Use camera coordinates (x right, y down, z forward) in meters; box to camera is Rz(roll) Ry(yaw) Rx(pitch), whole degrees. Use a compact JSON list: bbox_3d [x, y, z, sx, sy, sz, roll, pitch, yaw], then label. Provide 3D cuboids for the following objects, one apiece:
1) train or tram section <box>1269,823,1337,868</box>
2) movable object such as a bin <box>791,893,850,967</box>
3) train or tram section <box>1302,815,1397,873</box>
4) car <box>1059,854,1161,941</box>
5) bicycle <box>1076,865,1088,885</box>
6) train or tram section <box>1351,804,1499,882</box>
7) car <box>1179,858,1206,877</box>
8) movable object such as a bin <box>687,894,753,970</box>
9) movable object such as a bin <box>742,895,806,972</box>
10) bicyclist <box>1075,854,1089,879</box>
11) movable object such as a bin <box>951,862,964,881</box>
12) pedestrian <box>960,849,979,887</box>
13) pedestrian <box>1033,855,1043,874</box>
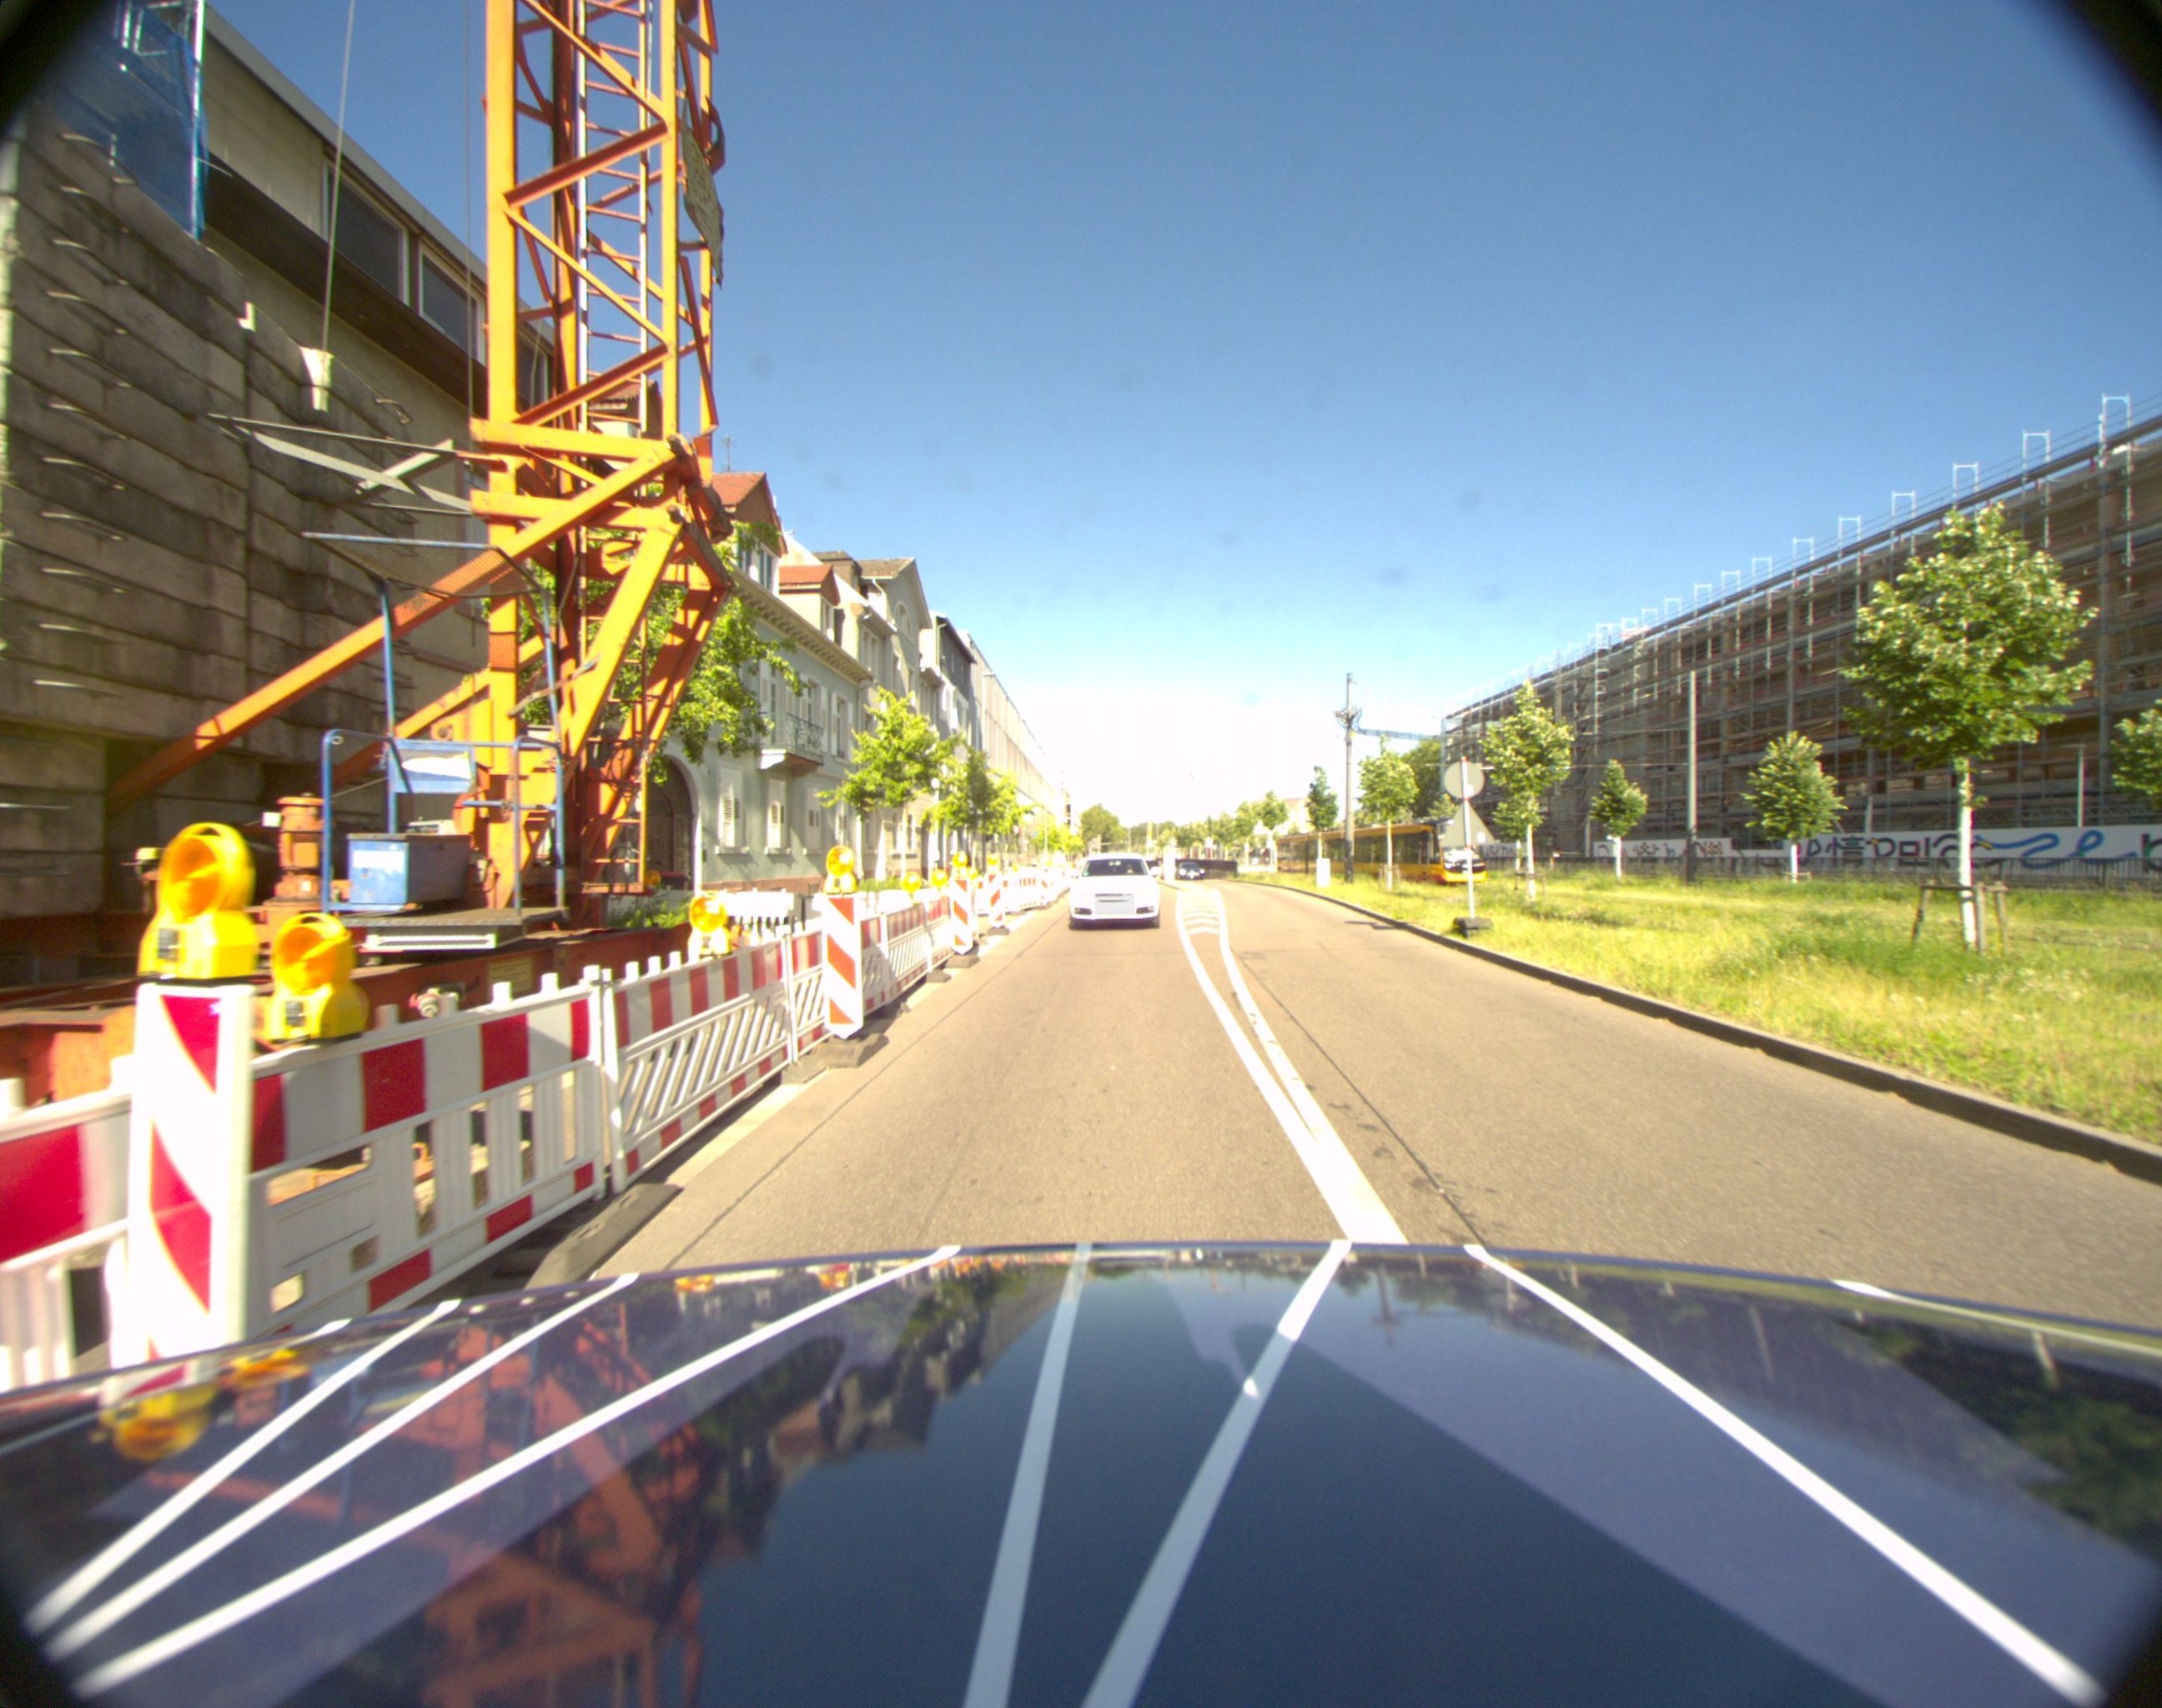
[{"bbox_3d":[19.390,-0.756,67.322,2.822,3.617,12.790,0,0,3],"label":"train or tram section"},{"bbox_3d":[-3.991,1.150,11.683,0.589,1.051,0.731,-1,0,3],"label":"movable object such as a bin"},{"bbox_3d":[18.846,-0.673,54.538,2.822,3.617,12.790,0,0,3],"label":"train or tram section"},{"bbox_3d":[0.702,0.839,16.683,1.933,1.624,4.001,-2,0,4],"label":"car"},{"bbox_3d":[0.063,1.223,44.734,0.610,1.144,1.987,-1,1,-3],"label":"bicycle"},{"bbox_3d":[18.294,-0.570,41.765,2.822,3.617,12.790,0,0,3],"label":"train or tram section"},{"bbox_3d":[9.077,1.095,62.253,1.927,1.435,4.178,0,0,4],"label":"car"},{"bbox_3d":[-5.491,1.170,11.590,0.589,1.051,0.783,4,0,-2],"label":"movable object such as a bin"},{"bbox_3d":[-4.654,1.192,11.538,0.596,1.052,0.731,3,1,3],"label":"movable object such as a bin"},{"bbox_3d":[0.062,0.740,44.732,0.755,1.454,0.587,-1,1,-3],"label":"bicyclist"},{"bbox_3d":[-7.401,1.034,45.469,0.589,1.101,0.704,-1,0,3],"label":"movable object such as a bin"},{"bbox_3d":[-5.808,0.736,39.497,0.796,1.917,0.769,-1,0,-19],"label":"pedestrian"},{"bbox_3d":[-4.613,1.106,81.871,0.877,1.914,0.895,2,3,2],"label":"pedestrian"}]
